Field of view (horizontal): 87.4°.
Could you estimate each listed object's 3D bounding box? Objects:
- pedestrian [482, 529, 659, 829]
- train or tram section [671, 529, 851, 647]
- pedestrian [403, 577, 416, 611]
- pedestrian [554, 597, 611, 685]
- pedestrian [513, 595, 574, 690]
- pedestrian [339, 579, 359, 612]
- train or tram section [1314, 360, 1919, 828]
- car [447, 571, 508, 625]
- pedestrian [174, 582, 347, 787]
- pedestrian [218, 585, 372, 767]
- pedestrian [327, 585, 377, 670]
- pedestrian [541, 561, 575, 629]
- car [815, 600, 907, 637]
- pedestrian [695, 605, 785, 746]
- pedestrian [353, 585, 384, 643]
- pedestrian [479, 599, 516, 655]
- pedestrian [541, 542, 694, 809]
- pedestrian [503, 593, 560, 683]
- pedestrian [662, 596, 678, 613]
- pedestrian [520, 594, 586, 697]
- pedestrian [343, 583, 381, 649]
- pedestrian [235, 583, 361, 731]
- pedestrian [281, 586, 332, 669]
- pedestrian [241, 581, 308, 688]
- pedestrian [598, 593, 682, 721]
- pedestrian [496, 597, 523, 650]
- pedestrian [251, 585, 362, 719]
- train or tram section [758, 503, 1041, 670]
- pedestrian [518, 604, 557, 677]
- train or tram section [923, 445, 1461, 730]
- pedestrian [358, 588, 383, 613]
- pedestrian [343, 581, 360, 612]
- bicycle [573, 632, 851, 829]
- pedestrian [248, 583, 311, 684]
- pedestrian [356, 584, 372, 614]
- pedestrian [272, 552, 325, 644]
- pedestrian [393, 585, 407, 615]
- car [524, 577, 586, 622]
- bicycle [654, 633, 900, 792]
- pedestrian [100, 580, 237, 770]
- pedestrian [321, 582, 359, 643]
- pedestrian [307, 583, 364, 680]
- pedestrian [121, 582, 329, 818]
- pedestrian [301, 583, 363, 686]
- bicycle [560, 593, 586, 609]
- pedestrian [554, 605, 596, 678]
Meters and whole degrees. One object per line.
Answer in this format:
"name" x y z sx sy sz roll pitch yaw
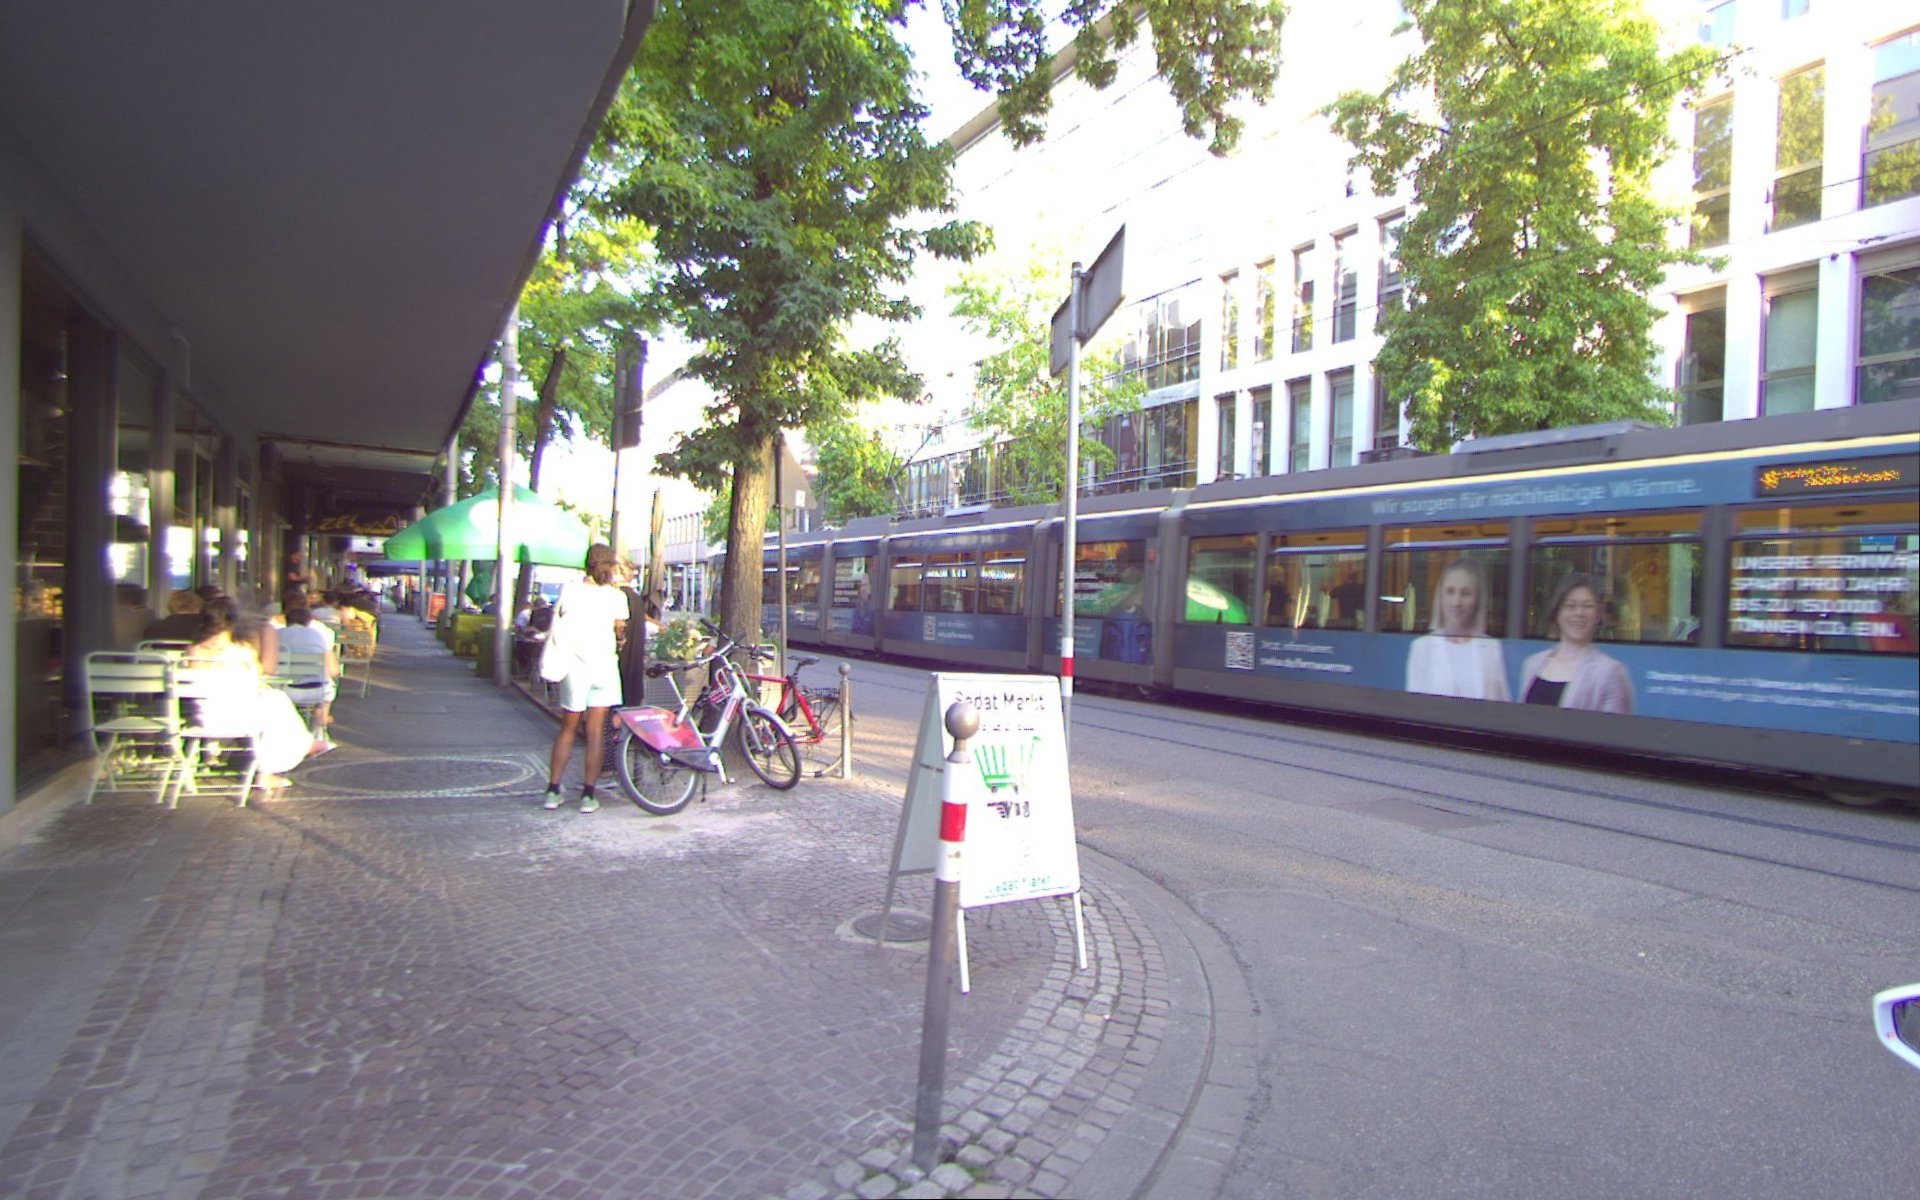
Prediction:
"pedestrian" -2.466 0.472 6.408 0.630 1.764 0.780 1 -1 29
"train or tram section" -7.484 -0.377 36.130 3.019 3.570 10.444 3 -1 -30
"pedestrian" -28.162 -0.316 51.378 0.505 1.683 0.607 3 -1 -28
"pedestrian" -6.151 0.659 16.347 0.709 1.380 1.004 2 -1 -29
"pedestrian" -6.270 0.628 15.113 0.709 1.380 0.917 2 -1 -29
"pedestrian" -27.492 -0.198 45.203 0.604 1.452 0.508 5 -2 -28
"train or tram section" 8.331 -0.010 8.886 2.991 3.570 10.286 2 -1 -30
"car" -18.377 -0.063 38.176 1.778 1.842 4.481 4 -2 -29
"pedestrian" -4.924 0.570 7.140 0.839 1.337 0.876 2 -1 -27
"pedestrian" -5.242 0.579 7.988 0.877 1.337 0.875 2 -1 -28
"pedestrian" -10.233 0.460 16.930 0.649 1.396 0.759 2 -1 -30
"pedestrian" -8.384 -0.096 20.930 0.543 1.396 0.560 2 -1 -30
"car" -4.394 0.790 45.241 1.834 1.477 4.169 0 2 36
"pedestrian" -2.292 0.759 10.440 0.687 1.395 0.787 2 -1 -29
"pedestrian" -14.742 0.350 25.042 0.600 1.396 0.643 2 -1 -30
"pedestrian" -10.804 0.622 23.472 0.702 1.281 0.595 2 -1 -30
"pedestrian" -2.407 0.506 7.119 0.629 1.764 0.782 1 -1 17
"pedestrian" -6.822 0.595 15.972 0.709 1.380 1.004 2 -1 -29
"pedestrian" -23.874 0.372 82.660 1.102 1.346 0.919 0 1 -30
"pedestrian" -5.696 0.622 14.050 0.709 1.380 1.004 2 -1 -29
"pedestrian" -12.997 0.358 21.832 0.649 1.396 0.759 2 -1 -30
"pedestrian" -6.346 0.535 9.688 0.877 1.337 0.875 2 -1 -28
"pedestrian" -11.268 0.472 17.336 0.649 1.396 0.759 2 -1 -30
"pedestrian" -9.339 0.466 13.701 0.649 1.396 0.759 2 -1 -30
"pedestrian" -3.658 0.631 11.441 0.709 1.380 0.917 2 -1 -29
"pedestrian" -12.168 0.642 27.110 0.574 1.396 0.560 2 -1 -30
"pedestrian" -6.848 0.534 10.576 0.839 1.337 0.876 2 -1 -27
"train or tram section" -2.167 -0.283 26.956 2.978 3.570 10.756 2 -1 -30
"pedestrian" -7.270 0.696 17.270 0.538 1.234 0.507 2 -1 -29
"train or tram section" 3.136 -0.138 17.825 2.982 3.570 10.317 2 -1 -30
"pedestrian" -27.970 0.037 47.666 0.812 1.135 0.774 5 -2 -21
"pedestrian" -27.817 -0.142 45.941 0.438 1.391 0.603 5 -2 -21
"bicycle" -1.653 0.824 7.023 0.767 1.154 1.863 1 -1 31
"pedestrian" -9.764 0.477 14.439 0.649 1.396 0.759 2 -1 -30
"pedestrian" -26.170 -0.038 44.122 0.507 1.258 0.655 5 -2 -30
"pedestrian" -13.199 -0.025 20.038 0.754 1.789 0.653 1 -1 41
"pedestrian" -28.061 -0.004 50.358 0.505 1.452 0.607 3 -1 -28
"car" -19.707 -0.039 48.764 1.978 2.003 4.808 2 0 -31
"bicycle" -1.455 0.873 8.167 1.847 1.154 0.621 3 -1 -34
"pedestrian" -5.942 0.540 7.590 0.616 1.337 0.836 2 -1 -27
"pedestrian" -14.577 0.297 23.637 0.684 1.396 0.759 2 -1 -30
"pedestrian" -9.207 0.463 14.833 0.649 1.396 0.759 2 -1 -30
"pedestrian" -4.547 0.585 6.297 0.877 1.337 0.875 2 -1 -28
"pedestrian" -8.743 0.476 14.013 0.649 1.396 0.759 2 -1 -30
"bicycle" -40.276 0.119 104.523 2.313 1.491 0.783 3 -1 -35
"pedestrian" -6.739 0.722 17.567 0.580 1.252 0.540 2 -1 -29
